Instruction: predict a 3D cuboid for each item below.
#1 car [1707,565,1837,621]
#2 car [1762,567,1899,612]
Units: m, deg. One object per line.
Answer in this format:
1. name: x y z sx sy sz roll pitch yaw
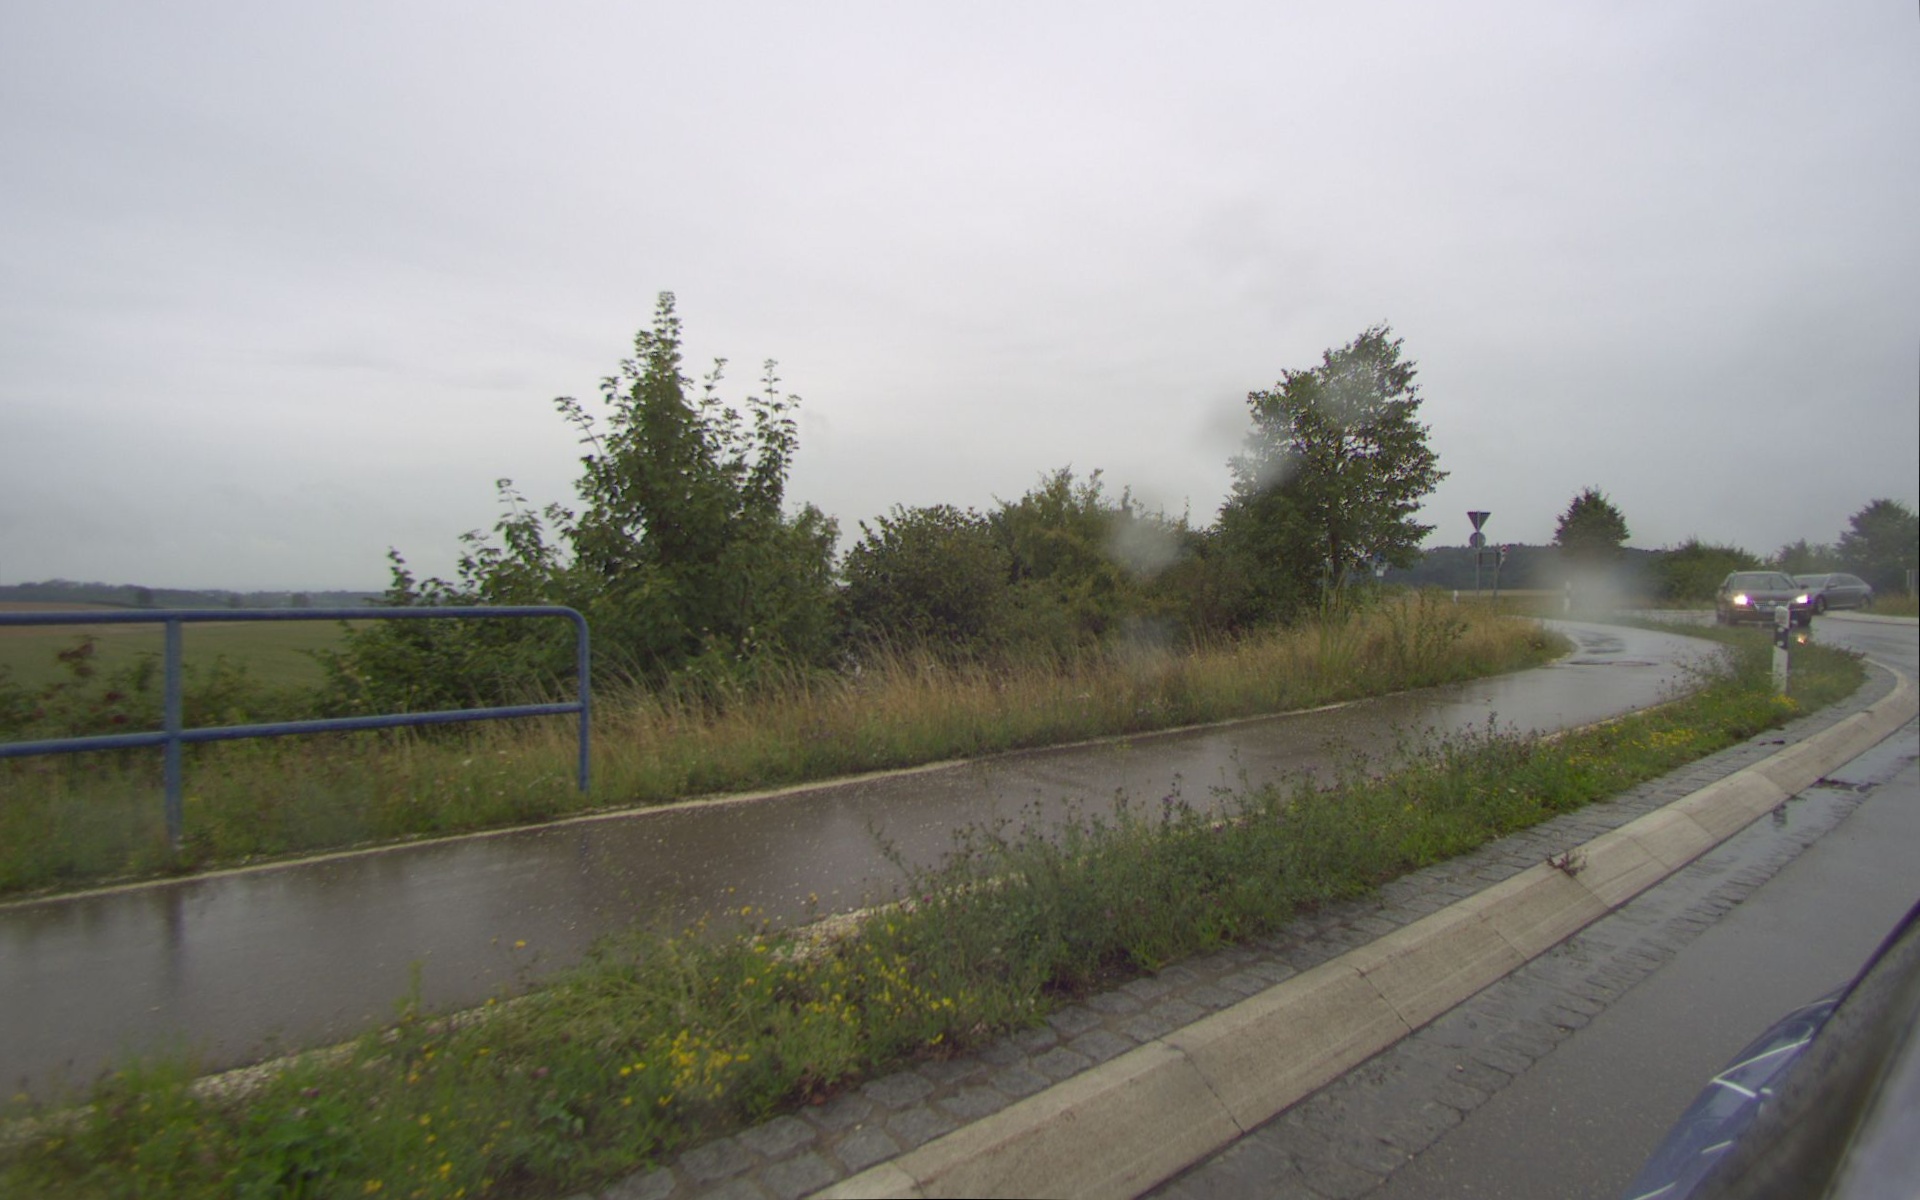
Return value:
1. car: 22.317 -0.202 28.011 1.932 1.388 4.459 2 1 28
2. car: 30.862 -0.375 35.889 4.408 1.439 1.768 1 1 -21
